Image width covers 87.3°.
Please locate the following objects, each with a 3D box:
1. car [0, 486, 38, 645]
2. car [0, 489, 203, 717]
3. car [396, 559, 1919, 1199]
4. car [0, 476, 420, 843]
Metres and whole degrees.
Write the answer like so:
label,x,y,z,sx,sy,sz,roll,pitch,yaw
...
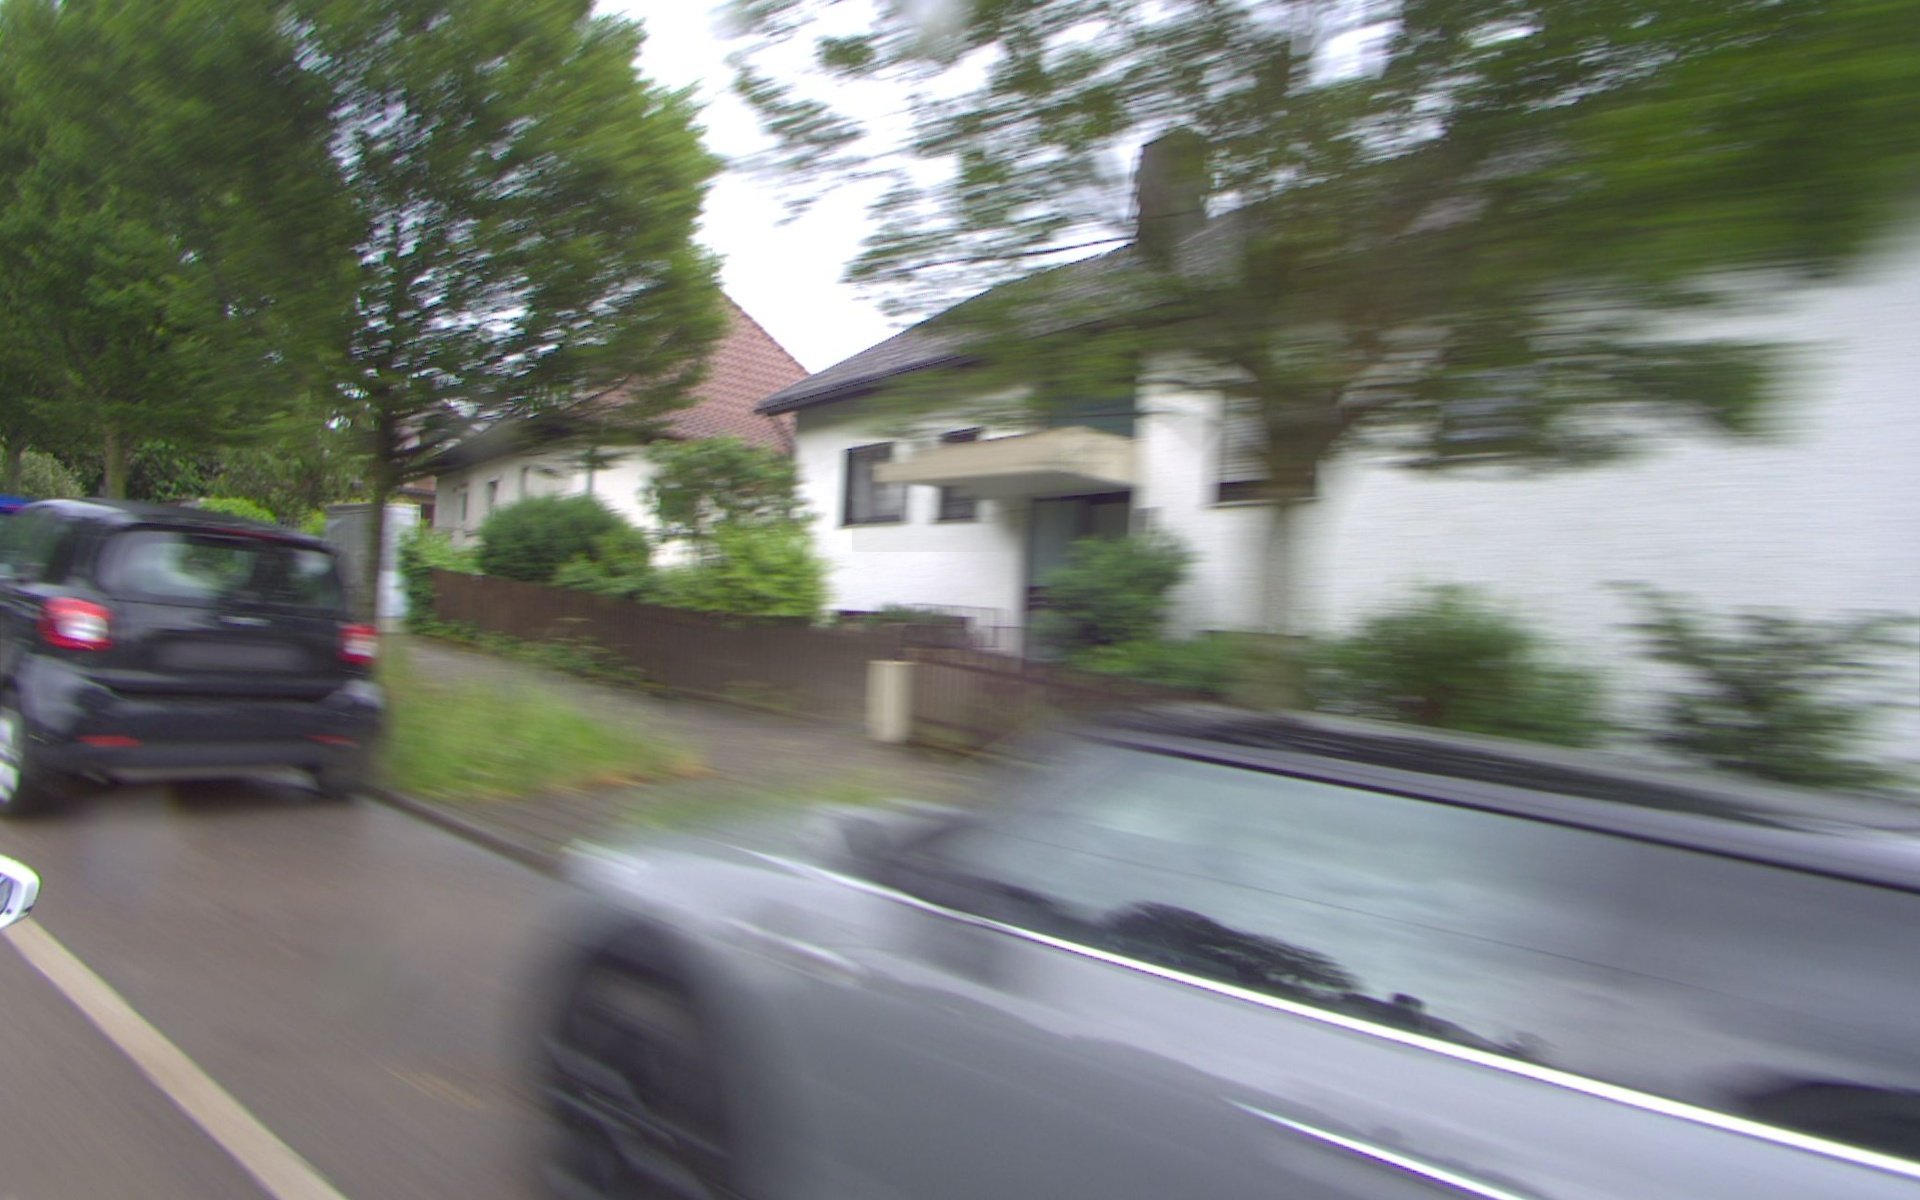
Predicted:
label,x,y,z,sx,sy,sz,roll,pitch,yaw
car,-11.833,-0.648,11.009,4.658,1.571,1.776,7,-1,39
car,-7.964,-0.150,8.164,3.937,1.537,1.656,7,-1,35
car,0.546,0.900,2.428,3.649,1.488,1.672,7,-2,33
car,-4.834,0.200,5.878,2.974,1.581,1.628,7,-1,34
